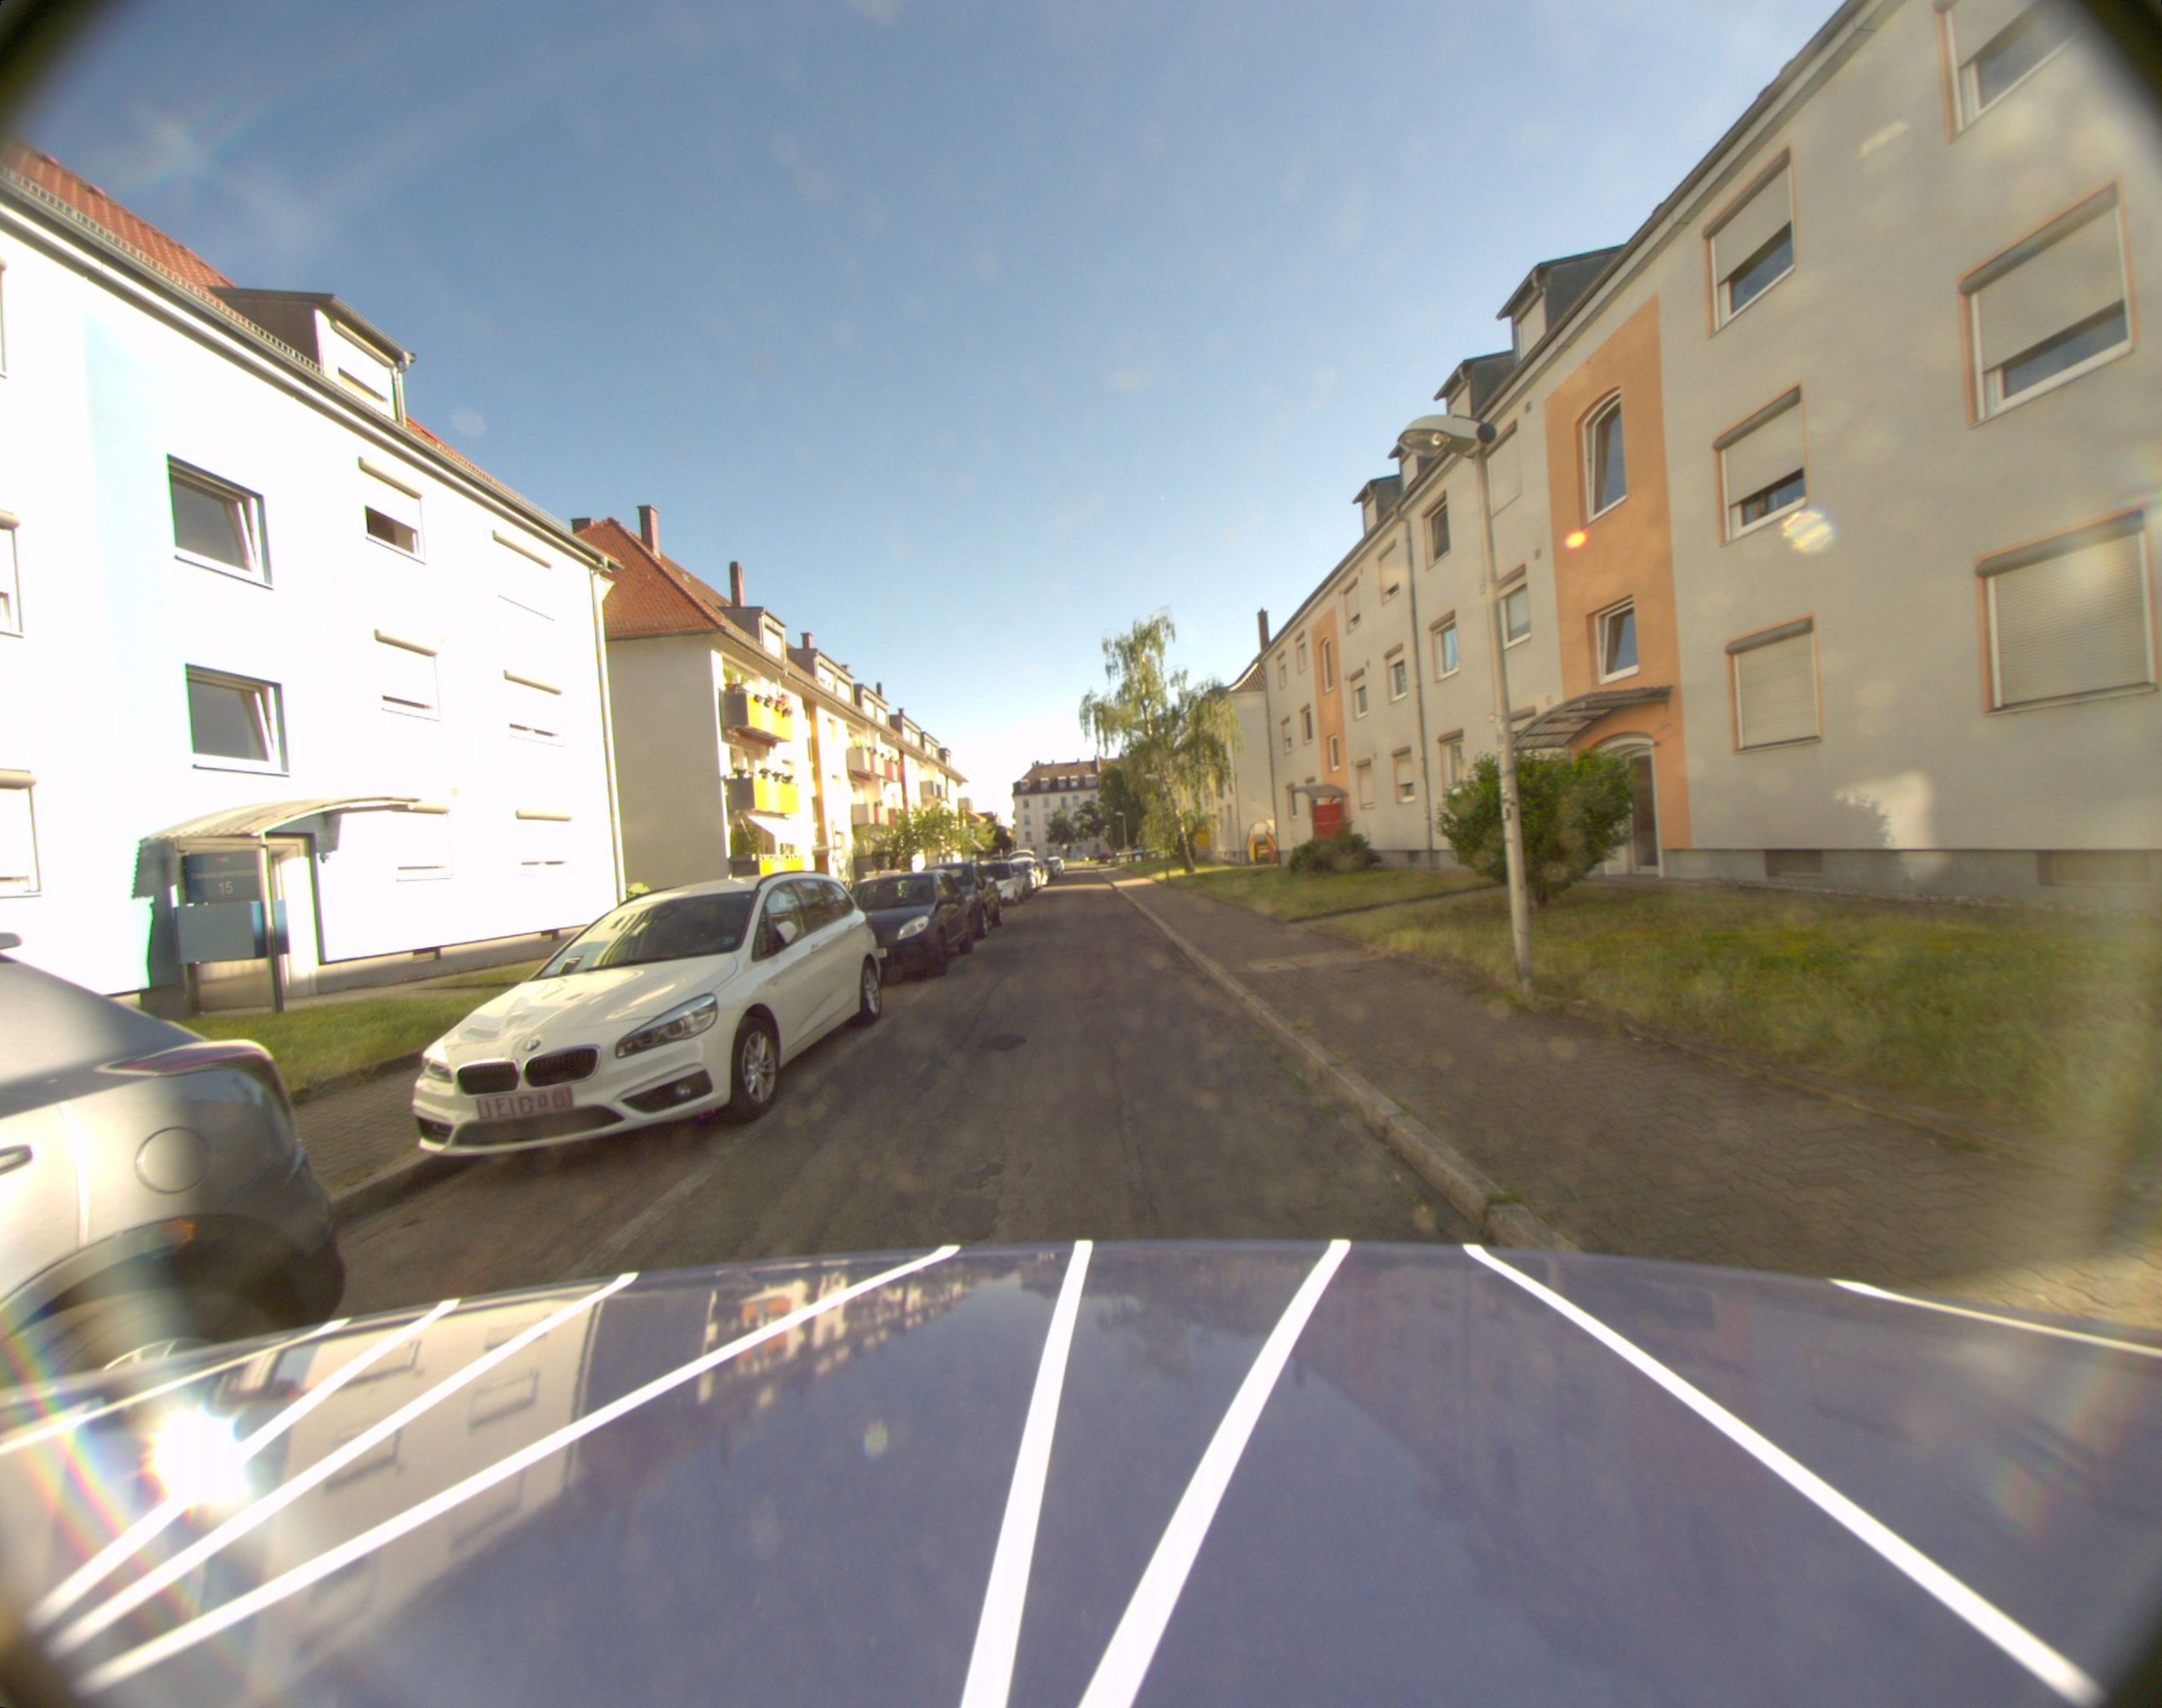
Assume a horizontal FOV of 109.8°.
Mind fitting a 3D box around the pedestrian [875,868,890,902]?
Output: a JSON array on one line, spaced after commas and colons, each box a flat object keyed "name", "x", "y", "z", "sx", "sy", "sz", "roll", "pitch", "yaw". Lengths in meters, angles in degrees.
[{"name": "pedestrian", "x": -9.071, "y": 1.412, "z": 34.720, "sx": 0.451, "sy": 1.486, "sz": 0.360, "roll": -3, "pitch": 2, "yaw": 1}]

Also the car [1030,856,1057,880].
[{"name": "car", "x": -2.676, "y": 0.966, "z": 55.587, "sx": 1.728, "sy": 1.569, "sz": 4.352, "roll": -3, "pitch": 0, "yaw": -1}]

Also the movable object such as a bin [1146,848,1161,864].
[{"name": "movable object such as a bin", "x": 7.601, "y": 0.188, "z": 79.707, "sx": 1.363, "sy": 1.445, "sz": 1.073, "roll": -8, "pitch": 1, "yaw": 0}]

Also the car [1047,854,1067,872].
[{"name": "car", "x": -2.445, "y": 0.877, "z": 78.270, "sx": 1.805, "sy": 1.583, "sz": 4.581, "roll": -5, "pitch": 0, "yaw": -1}]

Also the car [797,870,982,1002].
[{"name": "car", "x": -2.737, "y": 1.102, "z": 11.847, "sx": 1.646, "sy": 1.489, "sz": 4.156, "roll": -4, "pitch": 0, "yaw": 1}]

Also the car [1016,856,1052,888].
[{"name": "car", "x": -2.596, "y": 0.961, "z": 42.718, "sx": 1.777, "sy": 1.496, "sz": 4.480, "roll": -5, "pitch": 0, "yaw": -2}]

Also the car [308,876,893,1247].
[{"name": "car", "x": -2.930, "y": 1.096, "z": 5.996, "sx": 1.695, "sy": 1.566, "sz": 4.434, "roll": -5, "pitch": 0, "yaw": -1}]

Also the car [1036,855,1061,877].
[{"name": "car", "x": -2.594, "y": 0.951, "z": 60.889, "sx": 1.717, "sy": 1.501, "sz": 3.853, "roll": -7, "pitch": 0, "yaw": -1}]

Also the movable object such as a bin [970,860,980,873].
[{"name": "movable object such as a bin", "x": -12.175, "y": 1.426, "z": 87.186, "sx": 0.866, "sy": 1.511, "sz": 0.922, "roll": -3, "pitch": 1, "yaw": -1}]

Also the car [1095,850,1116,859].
[{"name": "car", "x": 4.663, "y": 0.167, "z": 144.922, "sx": 3.996, "sy": 1.477, "sz": 1.722, "roll": -3, "pitch": 0, "yaw": 2}]

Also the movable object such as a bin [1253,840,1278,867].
[{"name": "movable object such as a bin", "x": 10.136, "y": -0.047, "z": 41.737, "sx": 1.087, "sy": 1.398, "sz": 0.812, "roll": -5, "pitch": 0, "yaw": 1}]

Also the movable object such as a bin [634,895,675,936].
[{"name": "movable object such as a bin", "x": -11.863, "y": 1.701, "z": 21.142, "sx": 0.644, "sy": 1.029, "sz": 0.757, "roll": -3, "pitch": 3, "yaw": 1}]

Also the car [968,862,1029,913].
[{"name": "car", "x": -2.889, "y": 1.138, "z": 27.123, "sx": 1.483, "sy": 1.520, "sz": 2.941, "roll": -6, "pitch": 0, "yaw": 4}]

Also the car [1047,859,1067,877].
[{"name": "car", "x": -2.254, "y": 1.309, "z": 72.965, "sx": 1.695, "sy": 1.410, "sz": 4.097, "roll": -6, "pitch": 0, "yaw": -1}]

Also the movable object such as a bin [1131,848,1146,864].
[{"name": "movable object such as a bin", "x": 6.023, "y": 0.236, "z": 79.683, "sx": 1.358, "sy": 1.451, "sz": 1.082, "roll": -8, "pitch": 1, "yaw": 0}]

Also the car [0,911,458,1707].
[{"name": "car", "x": -3.002, "y": 1.084, "z": 0.306, "sx": 1.755, "sy": 1.608, "sz": 4.451, "roll": -6, "pitch": 0, "yaw": -2}]

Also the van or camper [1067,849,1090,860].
[{"name": "van or camper", "x": -0.517, "y": 0.056, "z": 145.258, "sx": 4.355, "sy": 1.852, "sz": 1.999, "roll": -3, "pitch": 0, "yaw": -2}]

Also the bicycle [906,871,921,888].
[{"name": "bicycle", "x": -10.820, "y": 1.630, "z": 49.122, "sx": 0.521, "sy": 1.031, "sz": 1.975, "roll": -3, "pitch": 0, "yaw": 1}]

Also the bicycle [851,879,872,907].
[{"name": "bicycle", "x": -9.066, "y": 1.611, "z": 31.441, "sx": 0.404, "sy": 1.080, "sz": 1.299, "roll": -3, "pitch": 0, "yaw": 1}]

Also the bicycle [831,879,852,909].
[{"name": "bicycle", "x": -9.966, "y": 1.655, "z": 31.663, "sx": 0.404, "sy": 1.126, "sz": 1.273, "roll": -4, "pitch": 0, "yaw": 1}]

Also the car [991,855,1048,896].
[{"name": "car", "x": -2.867, "y": 0.982, "z": 36.716, "sx": 1.998, "sy": 1.603, "sz": 4.995, "roll": -6, "pitch": 0, "yaw": 2}]

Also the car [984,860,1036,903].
[{"name": "car", "x": -2.868, "y": 1.069, "z": 31.393, "sx": 1.698, "sy": 1.482, "sz": 3.984, "roll": -6, "pitch": 0, "yaw": -1}]

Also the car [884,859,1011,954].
[{"name": "car", "x": -2.793, "y": 1.028, "z": 16.944, "sx": 1.787, "sy": 1.638, "sz": 4.468, "roll": -6, "pitch": 0, "yaw": 1}]

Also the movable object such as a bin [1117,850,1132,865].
[{"name": "movable object such as a bin", "x": 4.534, "y": 0.378, "z": 79.618, "sx": 1.318, "sy": 1.451, "sz": 1.198, "roll": -8, "pitch": 1, "yaw": 0}]

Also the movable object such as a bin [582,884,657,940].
[{"name": "movable object such as a bin", "x": -12.868, "y": 1.608, "z": 21.227, "sx": 1.331, "sy": 1.399, "sz": 1.106, "roll": -3, "pitch": 3, "yaw": 1}]

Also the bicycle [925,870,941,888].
[{"name": "bicycle", "x": -9.503, "y": 1.586, "z": 48.988, "sx": 0.521, "sy": 1.042, "sz": 2.288, "roll": -2, "pitch": 0, "yaw": 1}]

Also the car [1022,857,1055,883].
[{"name": "car", "x": -2.782, "y": 1.030, "z": 50.938, "sx": 1.650, "sy": 1.441, "sz": 4.061, "roll": -6, "pitch": 0, "yaw": 3}]
